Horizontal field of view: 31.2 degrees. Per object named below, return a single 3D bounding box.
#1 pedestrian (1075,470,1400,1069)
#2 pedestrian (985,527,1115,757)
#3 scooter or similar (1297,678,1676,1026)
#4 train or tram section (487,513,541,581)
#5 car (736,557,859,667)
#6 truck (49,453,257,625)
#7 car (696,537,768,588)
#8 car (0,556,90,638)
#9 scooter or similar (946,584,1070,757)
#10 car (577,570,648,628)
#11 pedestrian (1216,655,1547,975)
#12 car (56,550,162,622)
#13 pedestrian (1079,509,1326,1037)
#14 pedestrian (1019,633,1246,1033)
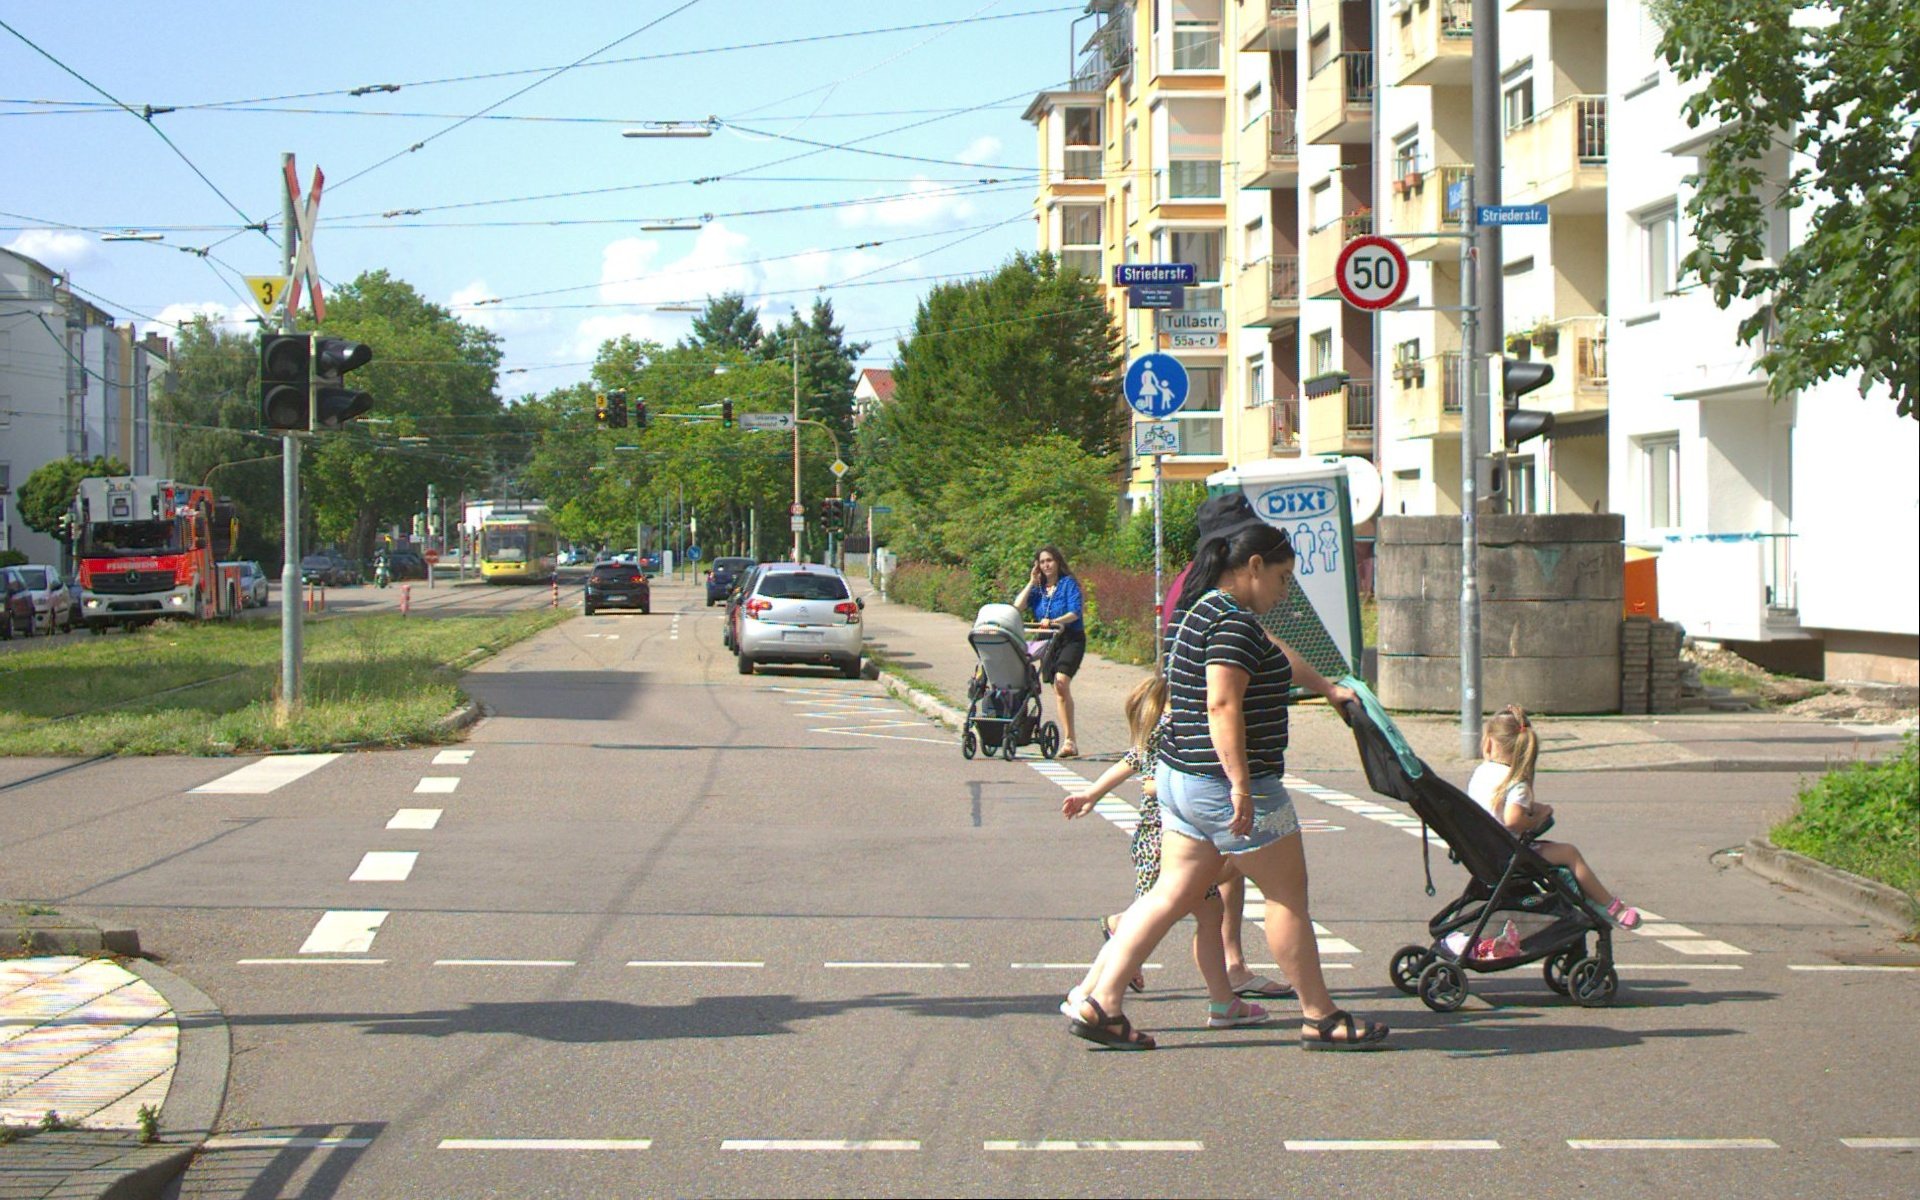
[{"bbox_3d":[0.787,0.470,9.985,0.845,1.662,0.799,-1,0,-1],"label":"pedestrian"},{"bbox_3d":[0.729,0.317,27.646,0.702,1.783,1.029,1,2,23],"label":"pedestrian"},{"bbox_3d":[1.686,0.800,11.128,1.100,1.052,0.650,1,0,-1],"label":"scooter or similar"},{"bbox_3d":[-20.875,-2.475,161.088,2.258,3.058,8.135,-1,1,-6],"label":"train or tram section"},{"bbox_3d":[-2.287,0.149,48.271,1.622,1.460,3.511,1,0,-3],"label":"car"},{"bbox_3d":[-17.521,-1.283,75.324,2.666,3.459,10.169,1,0,-3],"label":"truck"},{"bbox_3d":[-6.999,-1.140,105.745,1.744,1.502,4.000,1,0,3],"label":"car"},{"bbox_3d":[-20.460,-0.090,75.335,1.993,1.705,4.001,1,0,-4],"label":"car"},{"bbox_3d":[0.381,0.534,26.869,0.663,1.299,0.867,1,1,24],"label":"scooter or similar"},{"bbox_3d":[-9.380,-0.035,93.106,1.743,1.502,4.001,1,0,-4],"label":"car"},{"bbox_3d":[2.968,1.468,25.008,1.993,2.007,4.000,1,0,2],"label":"pedestrian"},{"bbox_3d":[-21.056,-0.363,85.214,1.909,1.705,4.001,1,0,-5],"label":"car"},{"bbox_3d":[0.775,0.543,11.139,0.705,1.642,0.637,2,0,0],"label":"pedestrian"},{"bbox_3d":[0.524,0.700,10.684,0.636,1.176,0.799,-1,0,-1],"label":"pedestrian"}]
